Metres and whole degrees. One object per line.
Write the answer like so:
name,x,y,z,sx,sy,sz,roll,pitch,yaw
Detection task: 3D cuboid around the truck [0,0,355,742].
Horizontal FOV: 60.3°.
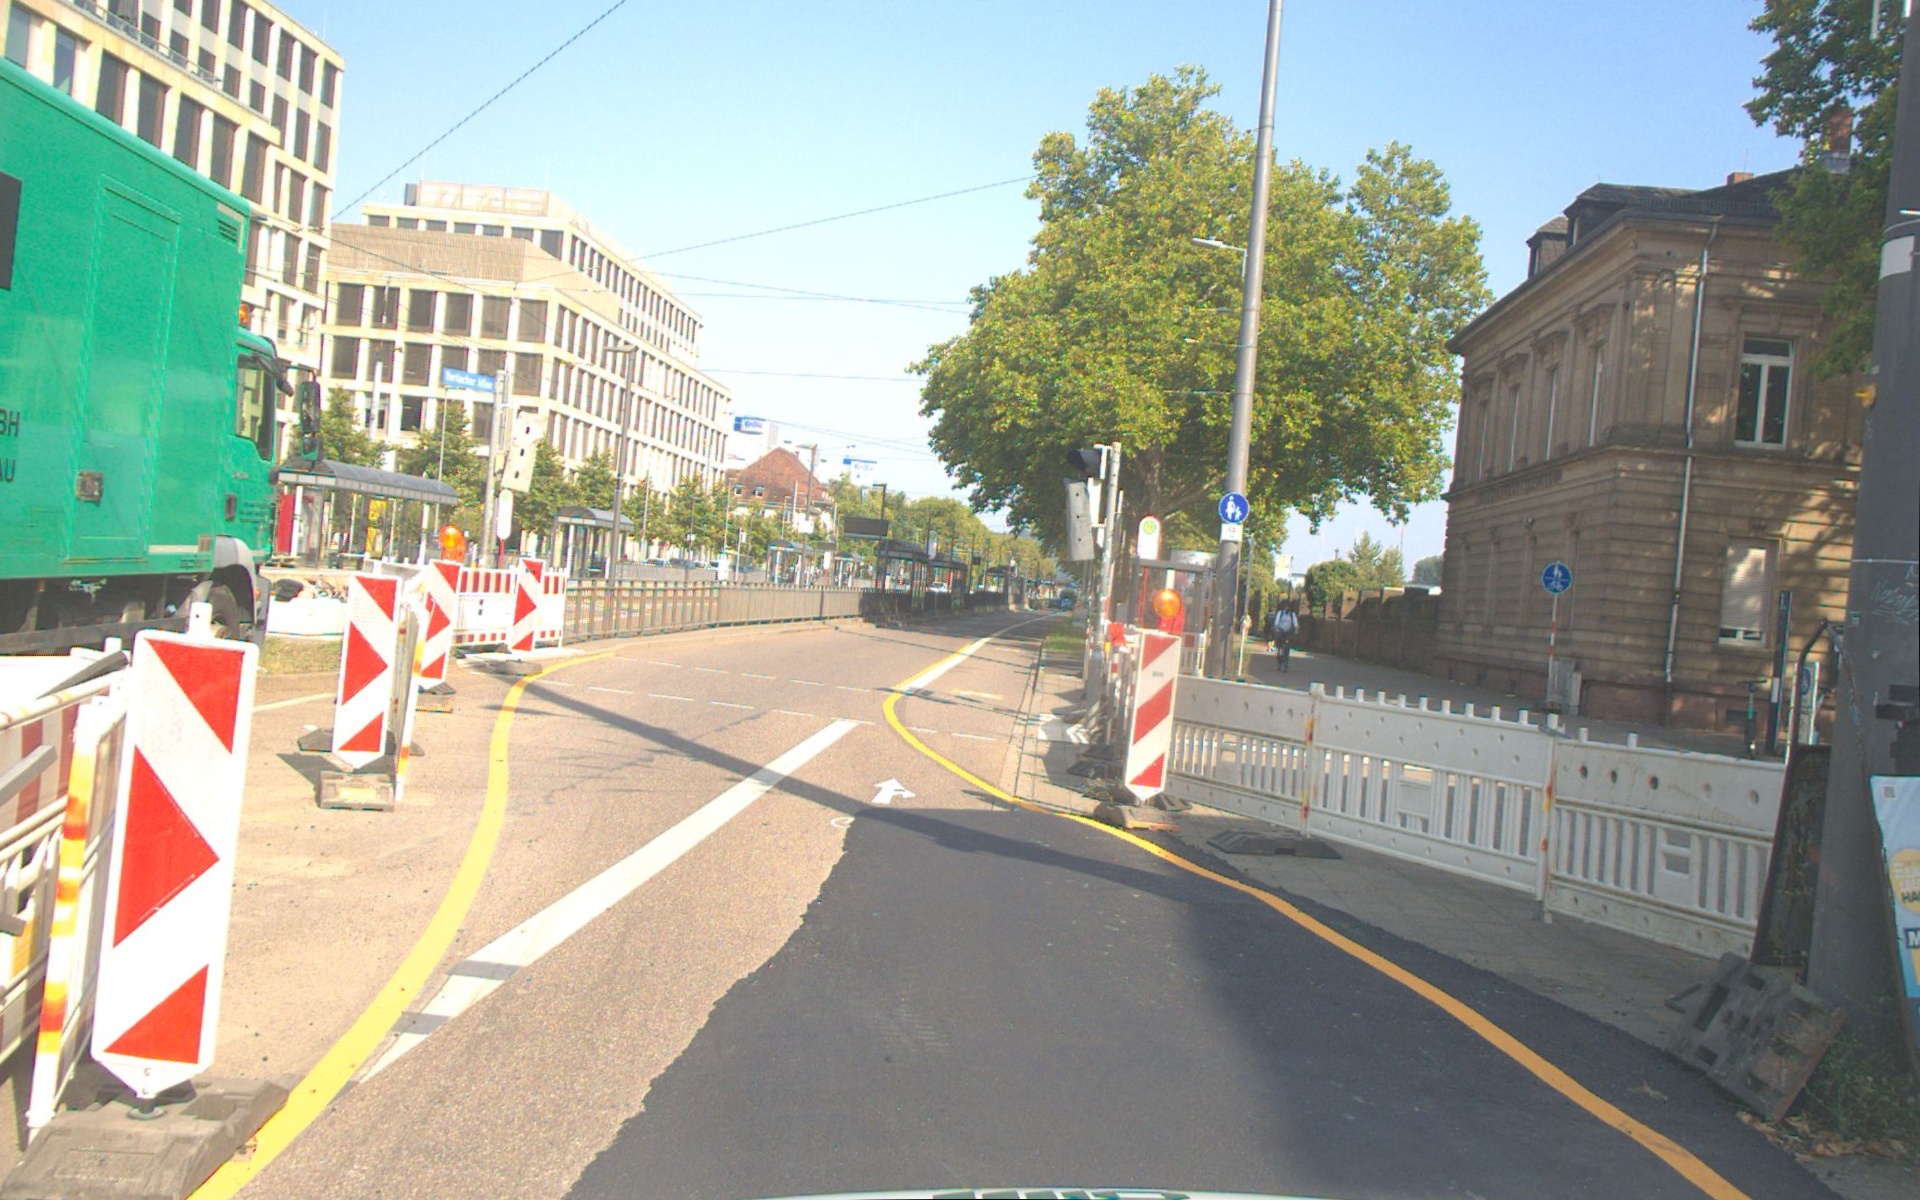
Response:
truck,-6.026,-1.294,9.136,2.622,3.741,8.208,5,1,-4

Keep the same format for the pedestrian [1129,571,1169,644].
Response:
pedestrian,4.674,0.174,40.955,0.677,1.726,0.646,4,1,-17

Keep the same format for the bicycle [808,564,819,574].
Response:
bicycle,-11.606,-2.437,130.830,0.467,0.673,1.615,5,1,9

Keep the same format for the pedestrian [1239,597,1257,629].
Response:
pedestrian,15.098,0.676,86.717,0.789,1.631,0.948,3,0,5

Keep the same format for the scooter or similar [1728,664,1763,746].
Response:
scooter or similar,13.046,1.733,27.470,0.413,1.230,1.254,5,3,26

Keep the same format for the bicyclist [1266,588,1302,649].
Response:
bicyclist,8.731,0.491,44.569,0.702,1.569,0.956,5,1,2

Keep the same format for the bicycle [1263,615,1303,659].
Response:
bicycle,8.695,0.981,44.583,0.702,1.059,1.904,5,1,2

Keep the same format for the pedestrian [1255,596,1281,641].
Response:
pedestrian,12.155,0.727,65.361,0.802,1.715,1.013,4,0,5

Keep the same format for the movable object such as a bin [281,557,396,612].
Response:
movable object such as a bin,-9.020,-0.226,23.995,1.476,0.663,0.701,6,1,26

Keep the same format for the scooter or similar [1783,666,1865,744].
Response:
scooter or similar,14.544,1.772,27.839,1.233,1.230,0.420,3,2,-21
